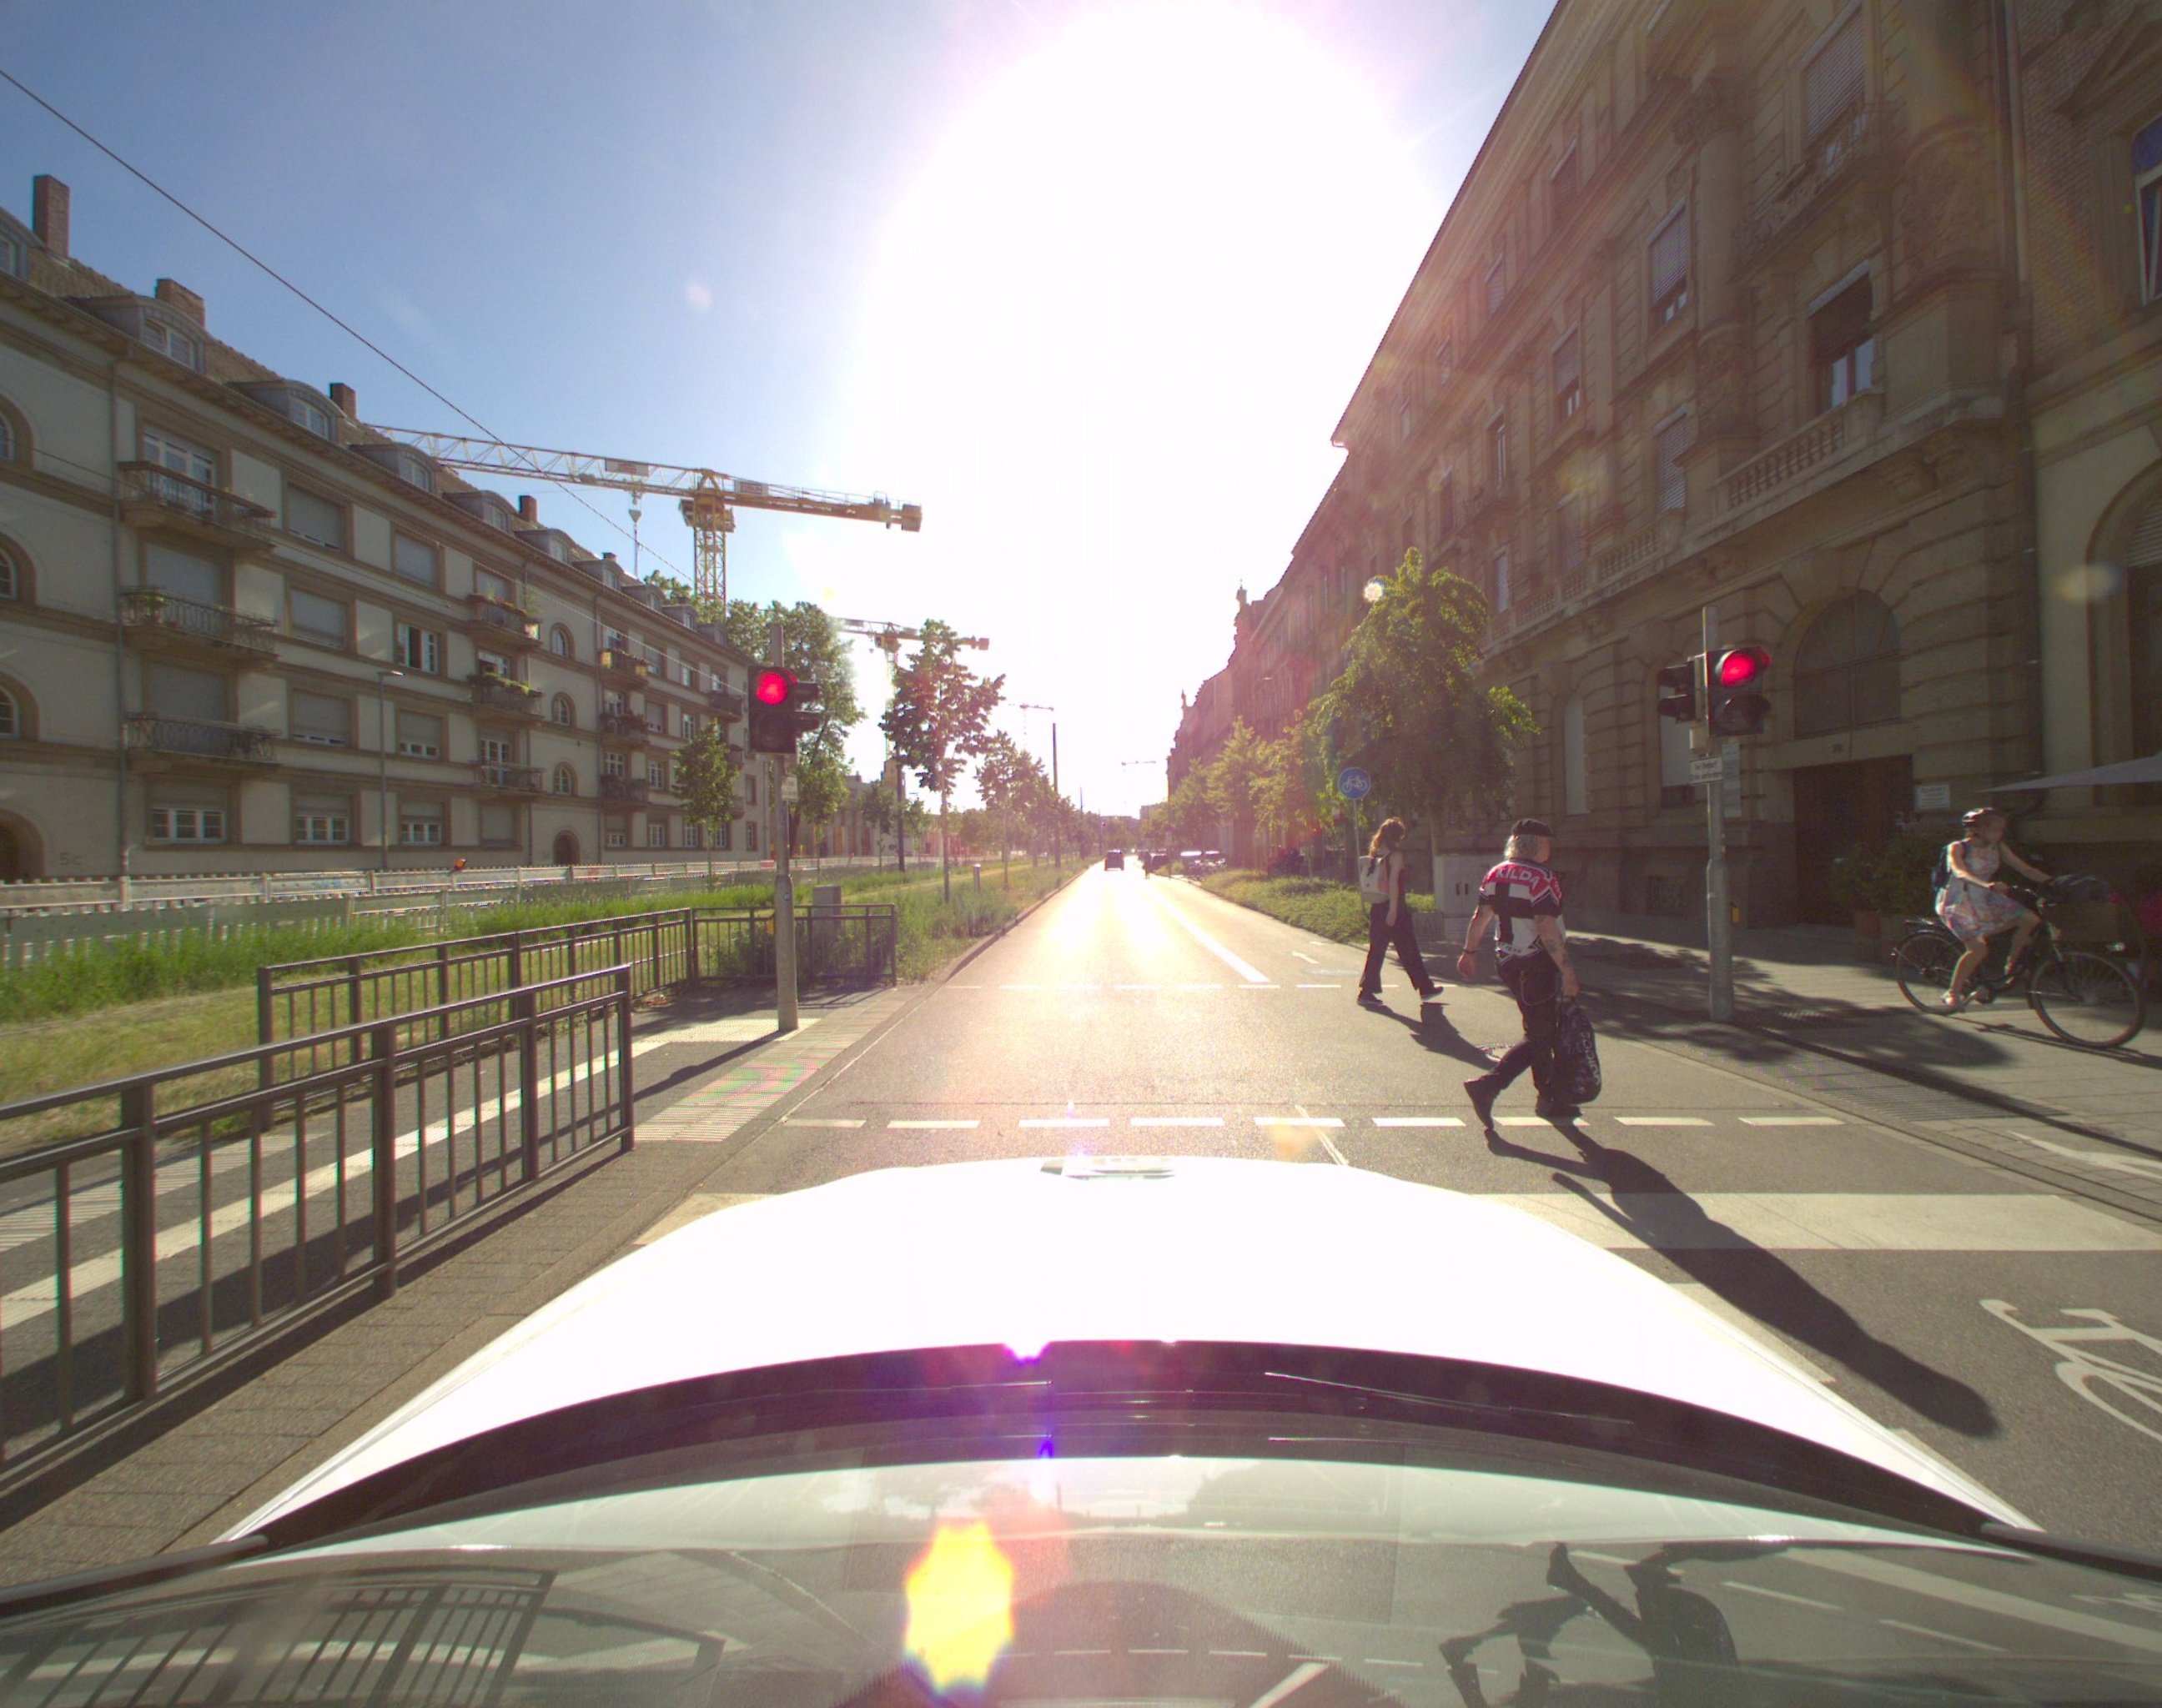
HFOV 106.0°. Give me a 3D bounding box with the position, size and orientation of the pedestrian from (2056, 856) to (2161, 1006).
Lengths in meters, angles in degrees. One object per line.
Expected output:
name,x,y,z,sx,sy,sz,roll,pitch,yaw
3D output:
pedestrian,9.082,0.631,6.948,0.703,1.178,0.635,-3,0,1

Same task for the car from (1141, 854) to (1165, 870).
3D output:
car,6.988,0.741,79.781,2.020,1.499,4.532,-2,0,2

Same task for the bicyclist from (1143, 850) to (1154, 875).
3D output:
bicyclist,4.413,0.547,53.474,0.681,1.673,0.922,0,0,1

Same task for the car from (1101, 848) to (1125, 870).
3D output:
car,2.988,0.490,76.467,2.192,1.926,4.655,-2,0,2

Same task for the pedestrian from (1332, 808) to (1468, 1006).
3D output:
pedestrian,3.248,0.517,8.353,1.073,1.908,0.652,-2,0,-5

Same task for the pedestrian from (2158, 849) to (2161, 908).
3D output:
pedestrian,9.983,0.551,6.938,0.703,1.236,0.635,-3,0,1

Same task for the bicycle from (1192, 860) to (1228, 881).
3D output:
bicycle,6.720,0.855,42.484,1.786,1.030,0.528,-2,0,1

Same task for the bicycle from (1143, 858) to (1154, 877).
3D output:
bicycle,4.387,0.887,53.228,0.599,1.181,1.870,0,0,1

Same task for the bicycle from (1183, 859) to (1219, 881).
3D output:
bicycle,6.484,0.852,44.011,1.786,1.030,0.528,-6,0,1

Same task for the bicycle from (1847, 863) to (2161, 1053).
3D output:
bicycle,7.182,0.704,6.377,0.581,1.222,1.900,-2,0,1

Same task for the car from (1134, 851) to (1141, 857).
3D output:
car,15.886,0.104,229.082,1.986,1.729,4.001,0,-1,2

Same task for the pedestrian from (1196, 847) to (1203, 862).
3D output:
pedestrian,12.558,0.045,86.621,0.611,1.611,0.669,-2,0,1

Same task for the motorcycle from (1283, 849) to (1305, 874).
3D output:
motorcycle,11.507,0.398,44.034,0.697,1.267,1.983,-2,0,2

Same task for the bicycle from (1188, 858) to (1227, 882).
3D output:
bicycle,6.371,0.782,41.001,1.786,1.030,0.528,-6,0,1

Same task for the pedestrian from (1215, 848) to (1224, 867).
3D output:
pedestrian,11.542,0.288,67.970,0.611,1.611,0.669,-2,0,1

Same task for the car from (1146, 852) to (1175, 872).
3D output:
car,6.579,0.637,67.487,2.020,1.499,4.655,-2,0,2

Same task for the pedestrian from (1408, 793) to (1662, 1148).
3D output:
pedestrian,2.511,0.585,4.633,0.863,1.788,0.969,-1,0,-5

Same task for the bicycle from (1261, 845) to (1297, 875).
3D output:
bicycle,9.538,0.292,39.271,0.617,1.330,1.886,-6,0,-20

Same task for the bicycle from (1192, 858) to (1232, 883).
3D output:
bicycle,6.333,0.813,39.530,1.786,1.030,0.528,-6,0,1

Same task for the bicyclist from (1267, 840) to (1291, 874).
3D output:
bicyclist,9.548,0.150,39.221,0.663,1.530,0.795,-6,0,-21

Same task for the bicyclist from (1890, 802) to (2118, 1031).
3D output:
bicyclist,7.171,0.451,6.387,0.664,1.639,0.961,-2,0,1
